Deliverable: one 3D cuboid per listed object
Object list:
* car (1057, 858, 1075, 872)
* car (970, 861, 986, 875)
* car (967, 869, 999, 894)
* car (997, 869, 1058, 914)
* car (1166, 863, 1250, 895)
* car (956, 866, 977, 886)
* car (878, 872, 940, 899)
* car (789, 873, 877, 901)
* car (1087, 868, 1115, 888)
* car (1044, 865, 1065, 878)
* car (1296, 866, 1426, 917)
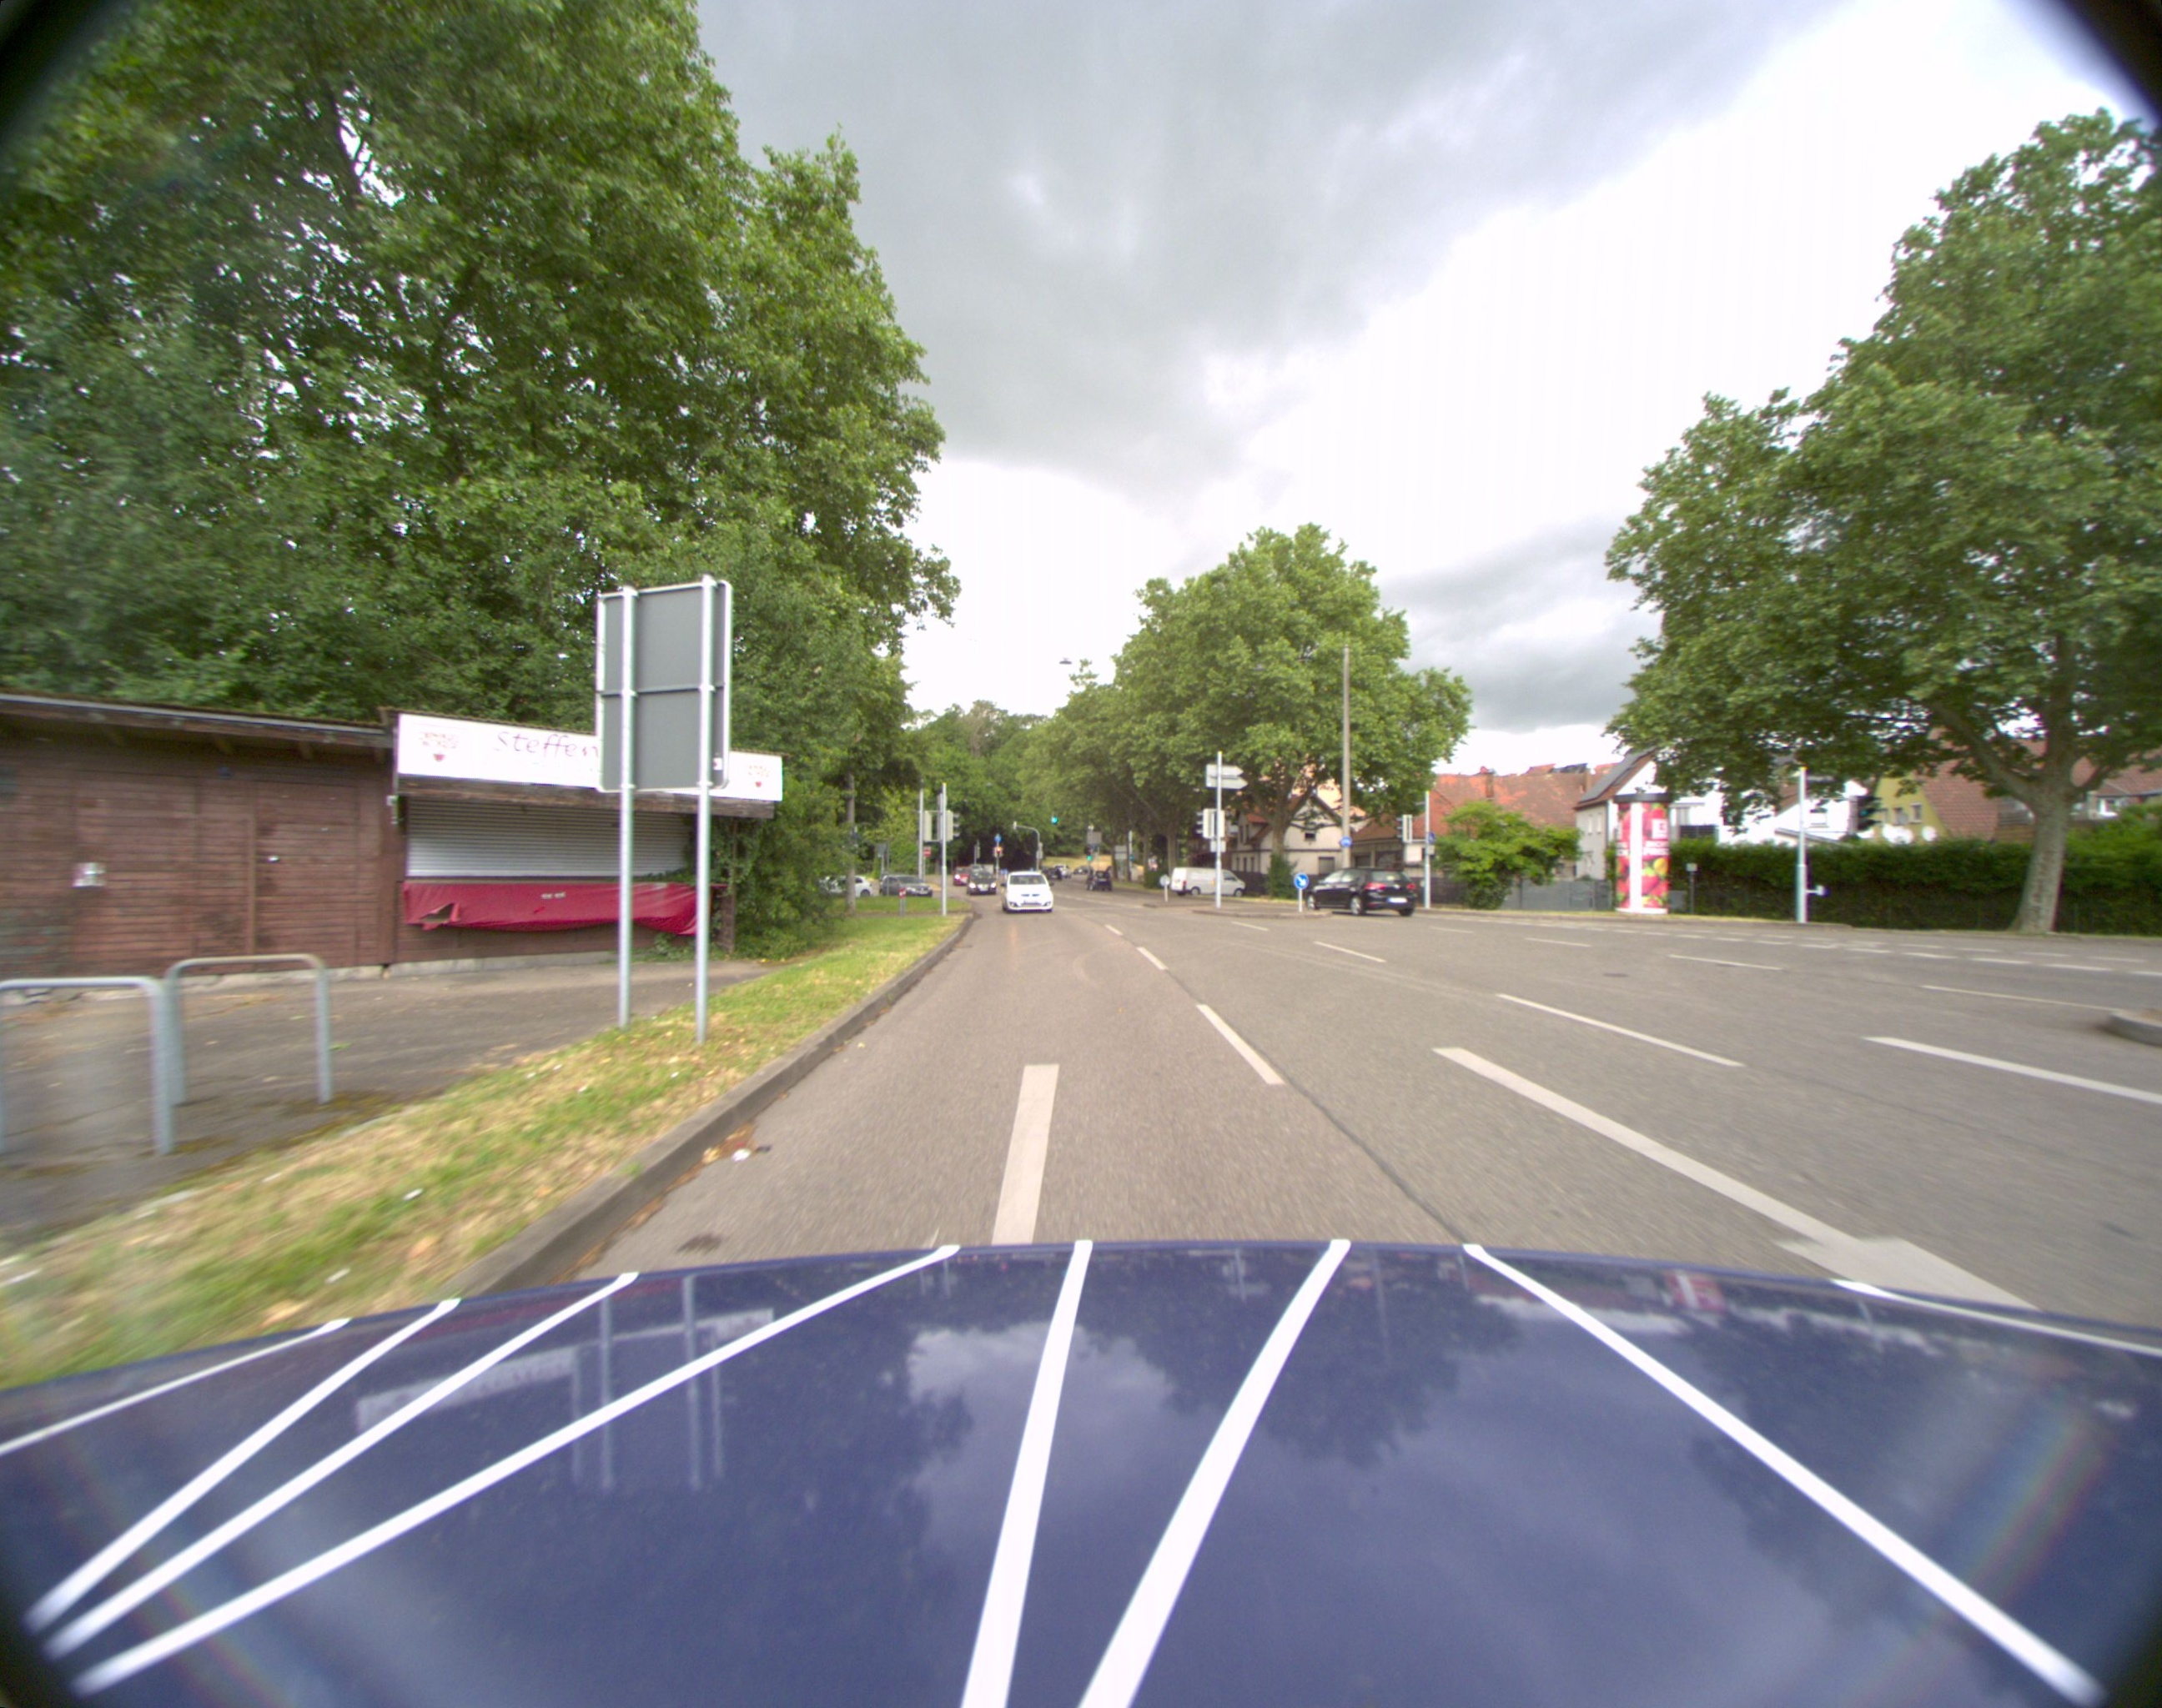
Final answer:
[{"bbox_3d":[-1.901,1.434,97.463,1.915,1.753,4.754,0,-1,3],"label":"car"},{"bbox_3d":[-11.850,1.580,87.928,1.784,1.559,3.997,1,0,-7],"label":"car"},{"bbox_3d":[-6.598,1.814,51.072,1.732,1.512,3.995,1,0,-13],"label":"car"},{"bbox_3d":[-2.042,1.325,27.997,1.630,1.499,3.995,0,-1,-13],"label":"car"},{"bbox_3d":[8.531,1.675,51.090,5.251,1.919,2.080,3,-1,-24],"label":"car"},{"bbox_3d":[-10.146,1.940,67.102,1.677,1.632,4.096,1,0,-11],"label":"car"},{"bbox_3d":[-9.840,1.772,43.344,1.737,1.420,4.102,0,-2,-40],"label":"car"},{"bbox_3d":[-13.612,1.784,41.902,1.760,1.372,4.271,-1,-1,42],"label":"car"},{"bbox_3d":[1.486,1.853,58.443,1.574,1.517,3.187,0,-2,-9],"label":"car"},{"bbox_3d":[-2.986,1.930,85.174,1.574,1.374,3.945,2,-1,-12],"label":"car"},{"bbox_3d":[8.322,1.066,23.065,1.683,1.358,4.307,-1,-1,-11],"label":"car"}]
